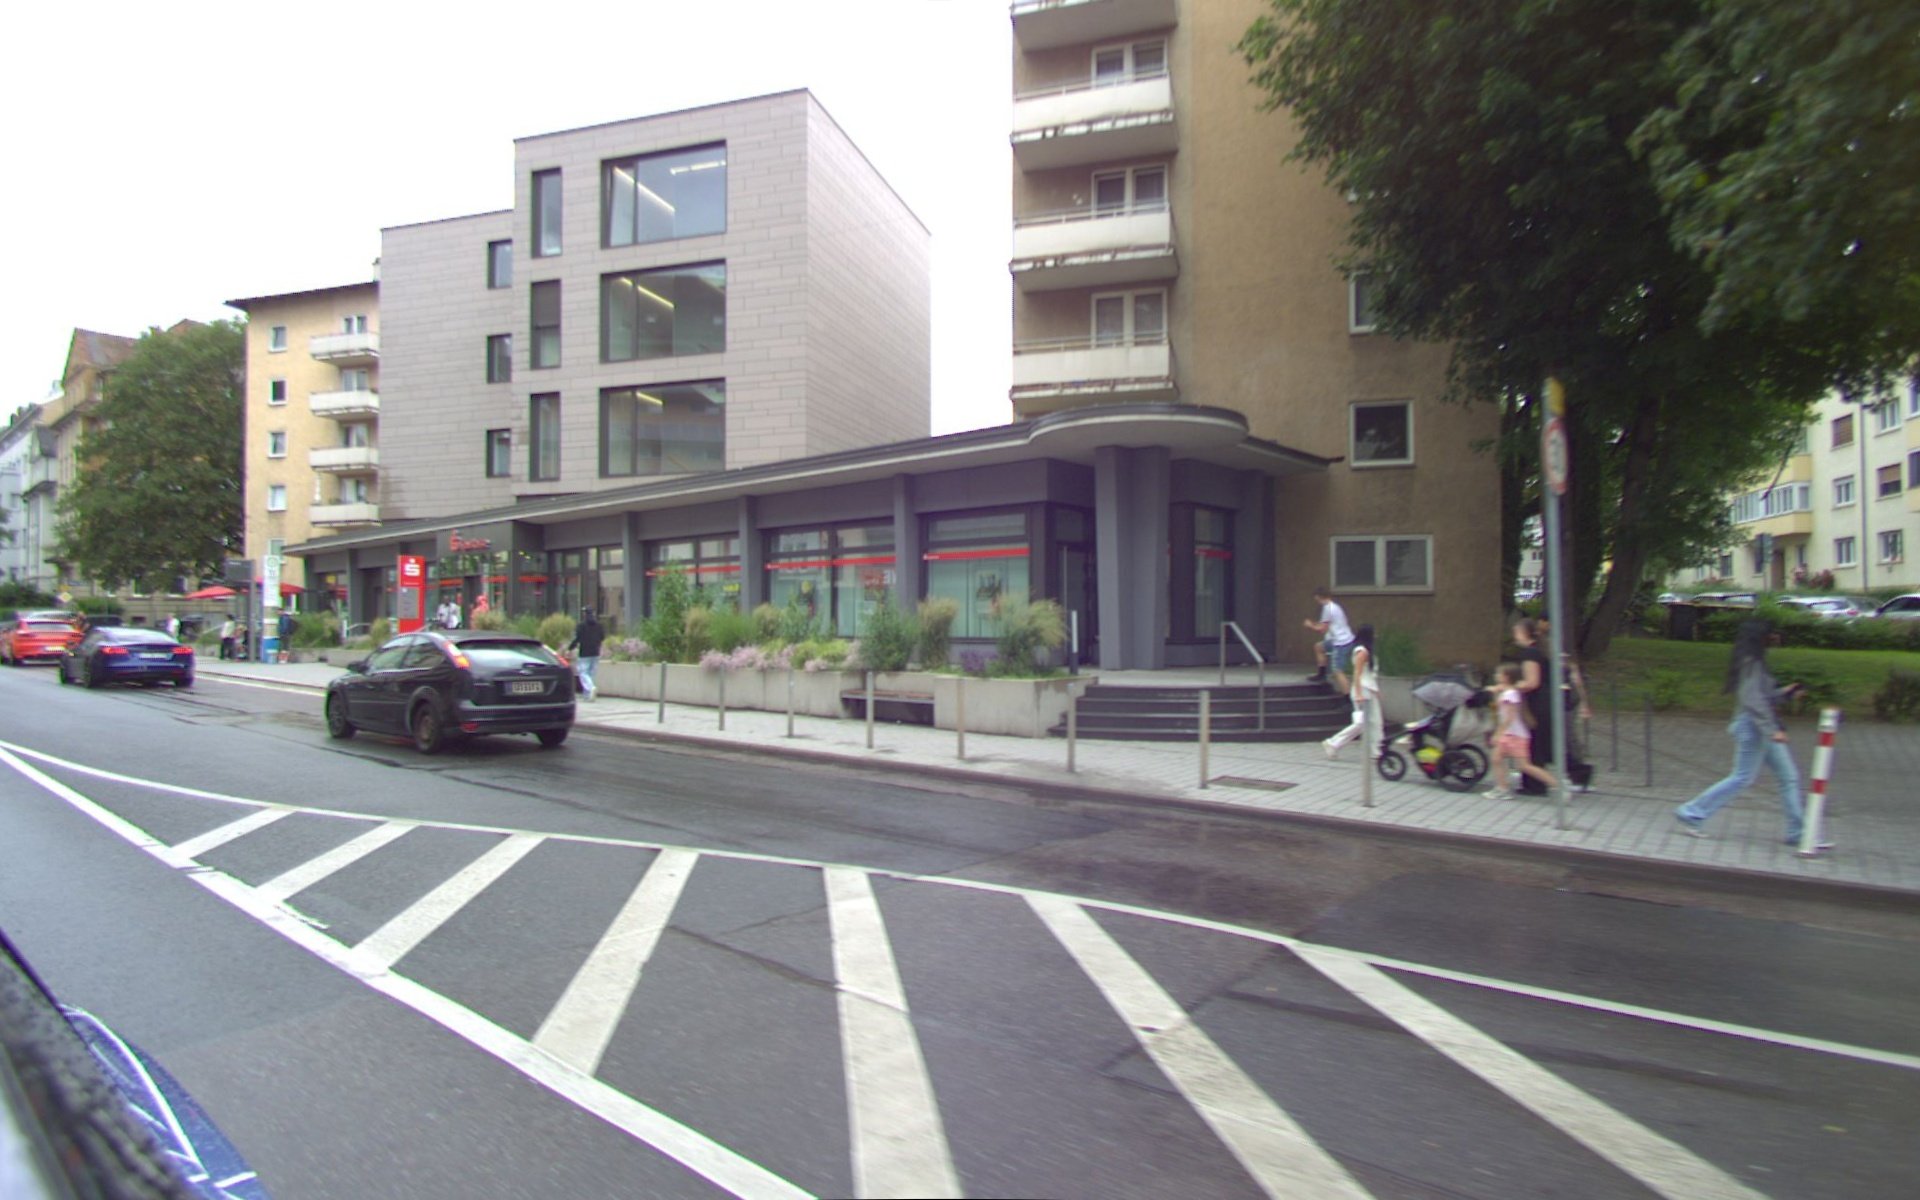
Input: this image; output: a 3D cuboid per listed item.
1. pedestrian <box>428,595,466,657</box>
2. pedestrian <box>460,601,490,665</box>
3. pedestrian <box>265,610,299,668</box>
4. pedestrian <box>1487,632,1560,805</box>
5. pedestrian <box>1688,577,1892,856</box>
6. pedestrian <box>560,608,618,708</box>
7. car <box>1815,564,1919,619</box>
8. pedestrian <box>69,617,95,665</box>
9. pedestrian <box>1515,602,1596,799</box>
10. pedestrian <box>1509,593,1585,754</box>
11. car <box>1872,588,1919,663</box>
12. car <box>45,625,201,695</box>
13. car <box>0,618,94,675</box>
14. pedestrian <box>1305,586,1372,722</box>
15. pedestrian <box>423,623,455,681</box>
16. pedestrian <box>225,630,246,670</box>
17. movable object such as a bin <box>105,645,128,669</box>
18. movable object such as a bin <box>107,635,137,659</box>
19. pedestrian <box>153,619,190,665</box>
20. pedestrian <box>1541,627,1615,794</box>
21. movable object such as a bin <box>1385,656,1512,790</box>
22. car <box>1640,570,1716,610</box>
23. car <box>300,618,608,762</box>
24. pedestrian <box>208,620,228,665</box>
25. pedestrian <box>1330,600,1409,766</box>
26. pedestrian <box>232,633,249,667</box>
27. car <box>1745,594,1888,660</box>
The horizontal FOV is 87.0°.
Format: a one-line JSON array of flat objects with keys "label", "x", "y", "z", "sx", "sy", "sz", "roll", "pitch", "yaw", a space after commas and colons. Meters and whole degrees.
[{"label": "pedestrian", "x": -14.151, "y": 0.714, "z": 27.921, "sx": 0.713, "sy": 1.691, "sz": 0.706, "roll": -1, "pitch": -1, "yaw": 39}, {"label": "pedestrian", "x": -13.143, "y": 0.882, "z": 27.440, "sx": 0.701, "sy": 1.691, "sz": 0.803, "roll": 0, "pitch": -1, "yaw": -22}, {"label": "pedestrian", "x": -21.600, "y": 1.225, "z": 32.254, "sx": 0.867, "sy": 1.833, "sz": 0.585, "roll": -1, "pitch": -1, "yaw": 31}, {"label": "pedestrian", "x": 4.865, "y": 0.995, "z": 8.737, "sx": 0.480, "sy": 1.421, "sz": 0.429, "roll": -1, "pitch": -1, "yaw": 36}, {"label": "pedestrian", "x": 5.839, "y": 0.784, "z": 7.177, "sx": 0.847, "sy": 1.840, "sz": 0.719, "roll": -2, "pitch": -1, "yaw": 17}, {"label": "pedestrian", "x": -7.010, "y": 1.077, "z": 19.137, "sx": 0.717, "sy": 1.840, "sz": 0.718, "roll": -2, "pitch": -1, "yaw": 21}, {"label": "car", "x": 35.499, "y": -0.269, "z": 39.224, "sx": 1.981, "sy": 2.029, "sz": 3.982, "roll": 0, "pitch": -1, "yaw": 14}, {"label": "pedestrian", "x": -37.519, "y": 1.743, "z": 43.244, "sx": 0.781, "sy": 2.029, "sz": 0.695, "roll": 0, "pitch": 0, "yaw": 36}, {"label": "pedestrian", "x": 5.318, "y": 0.868, "z": 9.037, "sx": 0.552, "sy": 1.686, "sz": 0.493, "roll": -1, "pitch": -1, "yaw": 36}, {"label": "pedestrian", "x": 7.074, "y": 0.864, "z": 12.235, "sx": 0.690, "sy": 1.859, "sz": 0.855, "roll": -1, "pitch": -1, "yaw": 25}, {"label": "car", "x": 27.066, "y": 0.683, "z": 27.447, "sx": 1.984, "sy": 2.029, "sz": 3.974, "roll": -1, "pitch": -2, "yaw": 19}, {"label": "car", "x": -20.299, "y": 1.369, "z": 24.463, "sx": 4.906, "sy": 1.523, "sz": 1.936, "roll": -1, "pitch": -2, "yaw": 39}, {"label": "car", "x": -32.036, "y": 1.566, "z": 35.160, "sx": 5.056, "sy": 1.778, "sz": 2.085, "roll": 1, "pitch": -2, "yaw": 40}, {"label": "pedestrian", "x": 5.293, "y": 0.748, "z": 14.190, "sx": 0.714, "sy": 1.840, "sz": 0.720, "roll": -2, "pitch": -1, "yaw": 12}, {"label": "pedestrian", "x": -13.032, "y": 1.290, "z": 25.324, "sx": 0.582, "sy": 1.431, "sz": 0.727, "roll": 0, "pitch": -1, "yaw": -16}, {"label": "pedestrian", "x": -24.281, "y": 1.668, "z": 33.926, "sx": 0.549, "sy": 1.287, "sz": 0.463, "roll": -1, "pitch": -1, "yaw": 40}, {"label": "movable object such as a bin", "x": -39.202, "y": 2.655, "z": 47.038, "sx": 0.579, "sy": 1.066, "sz": 0.732, "roll": 0, "pitch": 0, "yaw": 44}, {"label": "movable object such as a bin", "x": -38.520, "y": 2.154, "z": 46.541, "sx": 0.805, "sy": 1.066, "sz": 0.739, "roll": 0, "pitch": 0, "yaw": 15}, {"label": "pedestrian", "x": -30.509, "y": 1.623, "z": 39.170, "sx": 0.755, "sy": 1.721, "sz": 0.789, "roll": -2, "pitch": 0, "yaw": 15}, {"label": "pedestrian", "x": 5.718, "y": 0.993, "z": 9.367, "sx": 0.529, "sy": 1.484, "sz": 0.455, "roll": -1, "pitch": -1, "yaw": 36}, {"label": "movable object such as a bin", "x": 4.649, "y": 1.132, "z": 9.636, "sx": 0.964, "sy": 1.143, "sz": 0.697, "roll": -1, "pitch": 0, "yaw": 37}, {"label": "car", "x": 38.533, "y": -0.515, "z": 54.446, "sx": 1.981, "sy": 2.029, "sz": 3.982, "roll": 0, "pitch": -1, "yaw": 14}, {"label": "car", "x": -6.629, "y": 1.053, "z": 13.107, "sx": 4.238, "sy": 1.569, "sz": 1.936, "roll": -1, "pitch": -3, "yaw": 38}, {"label": "pedestrian", "x": -25.619, "y": 1.462, "z": 34.956, "sx": 0.532, "sy": 1.561, "sz": 0.433, "roll": -1, "pitch": -1, "yaw": 39}, {"label": "pedestrian", "x": 4.511, "y": 0.890, "z": 11.194, "sx": 0.715, "sy": 1.772, "sz": 0.653, "roll": -1, "pitch": -1, "yaw": 17}, {"label": "pedestrian", "x": -23.909, "y": 1.663, "z": 33.624, "sx": 0.386, "sy": 1.125, "sz": 0.388, "roll": -1, "pitch": -1, "yaw": 40}, {"label": "car", "x": 28.251, "y": 0.900, "z": 33.575, "sx": 1.981, "sy": 2.029, "sz": 3.982, "roll": -1, "pitch": -2, "yaw": 14}]
